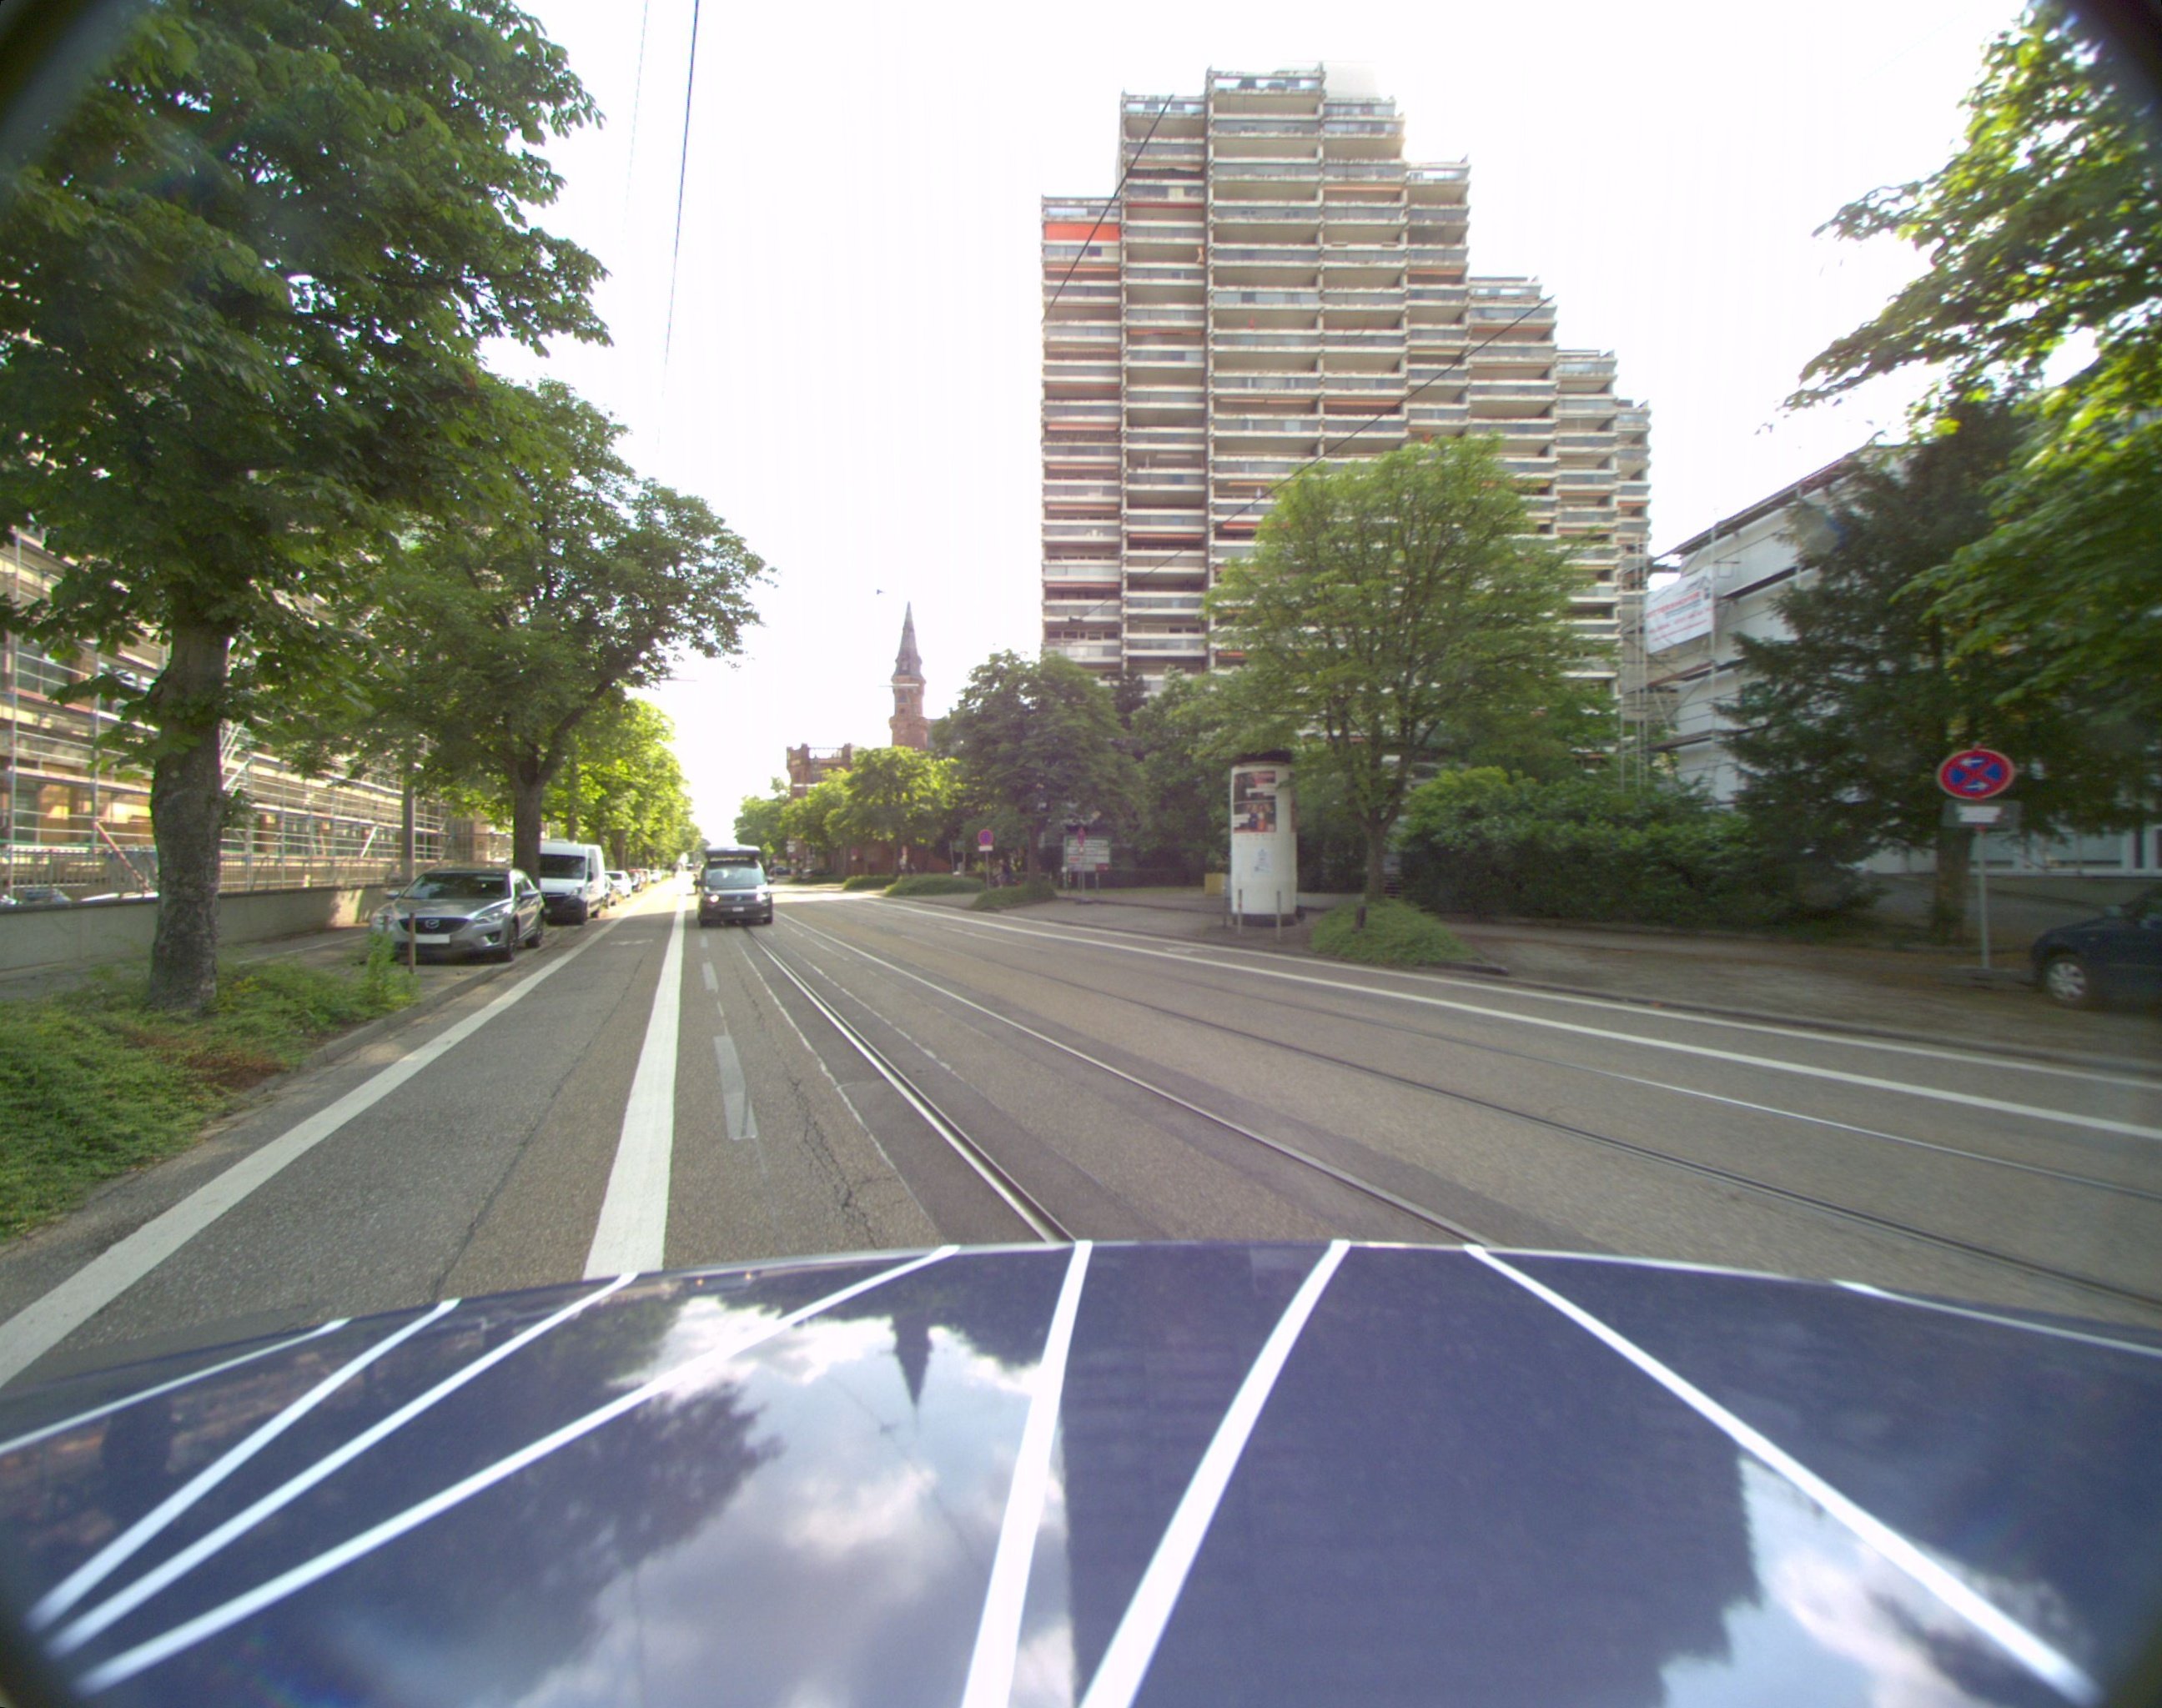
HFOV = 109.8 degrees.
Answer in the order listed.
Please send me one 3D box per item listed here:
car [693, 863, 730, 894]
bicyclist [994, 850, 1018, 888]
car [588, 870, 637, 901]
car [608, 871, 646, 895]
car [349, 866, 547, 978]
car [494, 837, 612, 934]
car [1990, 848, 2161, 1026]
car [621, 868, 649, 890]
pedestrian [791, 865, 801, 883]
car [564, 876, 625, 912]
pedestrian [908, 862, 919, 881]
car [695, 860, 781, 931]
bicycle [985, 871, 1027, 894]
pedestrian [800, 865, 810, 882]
[{"bbox_3d":[-21.667,1.398,44.447,1.681,1.602,3.961,-5,2,-28],"label":"car"},{"bbox_3d":[-3.632,0.720,36.727,0.780,1.730,0.726,-4,2,25],"label":"bicyclist"},{"bbox_3d":[-24.920,1.645,40.516,1.571,1.448,3.888,-5,1,-23],"label":"car"},{"bbox_3d":[-29.652,1.863,49.704,1.740,1.390,3.623,-5,1,-27],"label":"car"},{"bbox_3d":[-11.251,1.117,13.879,1.773,1.597,4.450,-3,-1,-27],"label":"car"},{"bbox_3d":[-16.084,0.877,23.481,2.132,2.552,5.907,-3,0,-27],"label":"car"},{"bbox_3d":[10.532,0.780,6.500,1.756,1.454,4.004,-4,1,21],"label":"car"},{"bbox_3d":[-34.713,1.910,59.202,1.535,1.565,3.640,-5,1,-27],"label":"car"},{"bbox_3d":[-33.266,2.295,88.662,0.906,2.002,1.055,-5,2,-24],"label":"pedestrian"},{"bbox_3d":[-20.787,1.646,32.592,1.742,1.364,4.498,-1,-1,-27],"label":"car"},{"bbox_3d":[-14.962,1.592,67.867,0.766,1.620,0.737,-5,2,-18],"label":"pedestrian"},{"bbox_3d":[-9.844,1.066,21.584,1.950,1.763,4.827,0,-1,-28],"label":"car"},{"bbox_3d":[-3.656,1.399,36.807,1.978,0.975,0.570,-4,2,28],"label":"bicycle"},{"bbox_3d":[-32.362,2.279,89.117,0.906,2.002,1.055,-5,2,-25],"label":"pedestrian"}]
